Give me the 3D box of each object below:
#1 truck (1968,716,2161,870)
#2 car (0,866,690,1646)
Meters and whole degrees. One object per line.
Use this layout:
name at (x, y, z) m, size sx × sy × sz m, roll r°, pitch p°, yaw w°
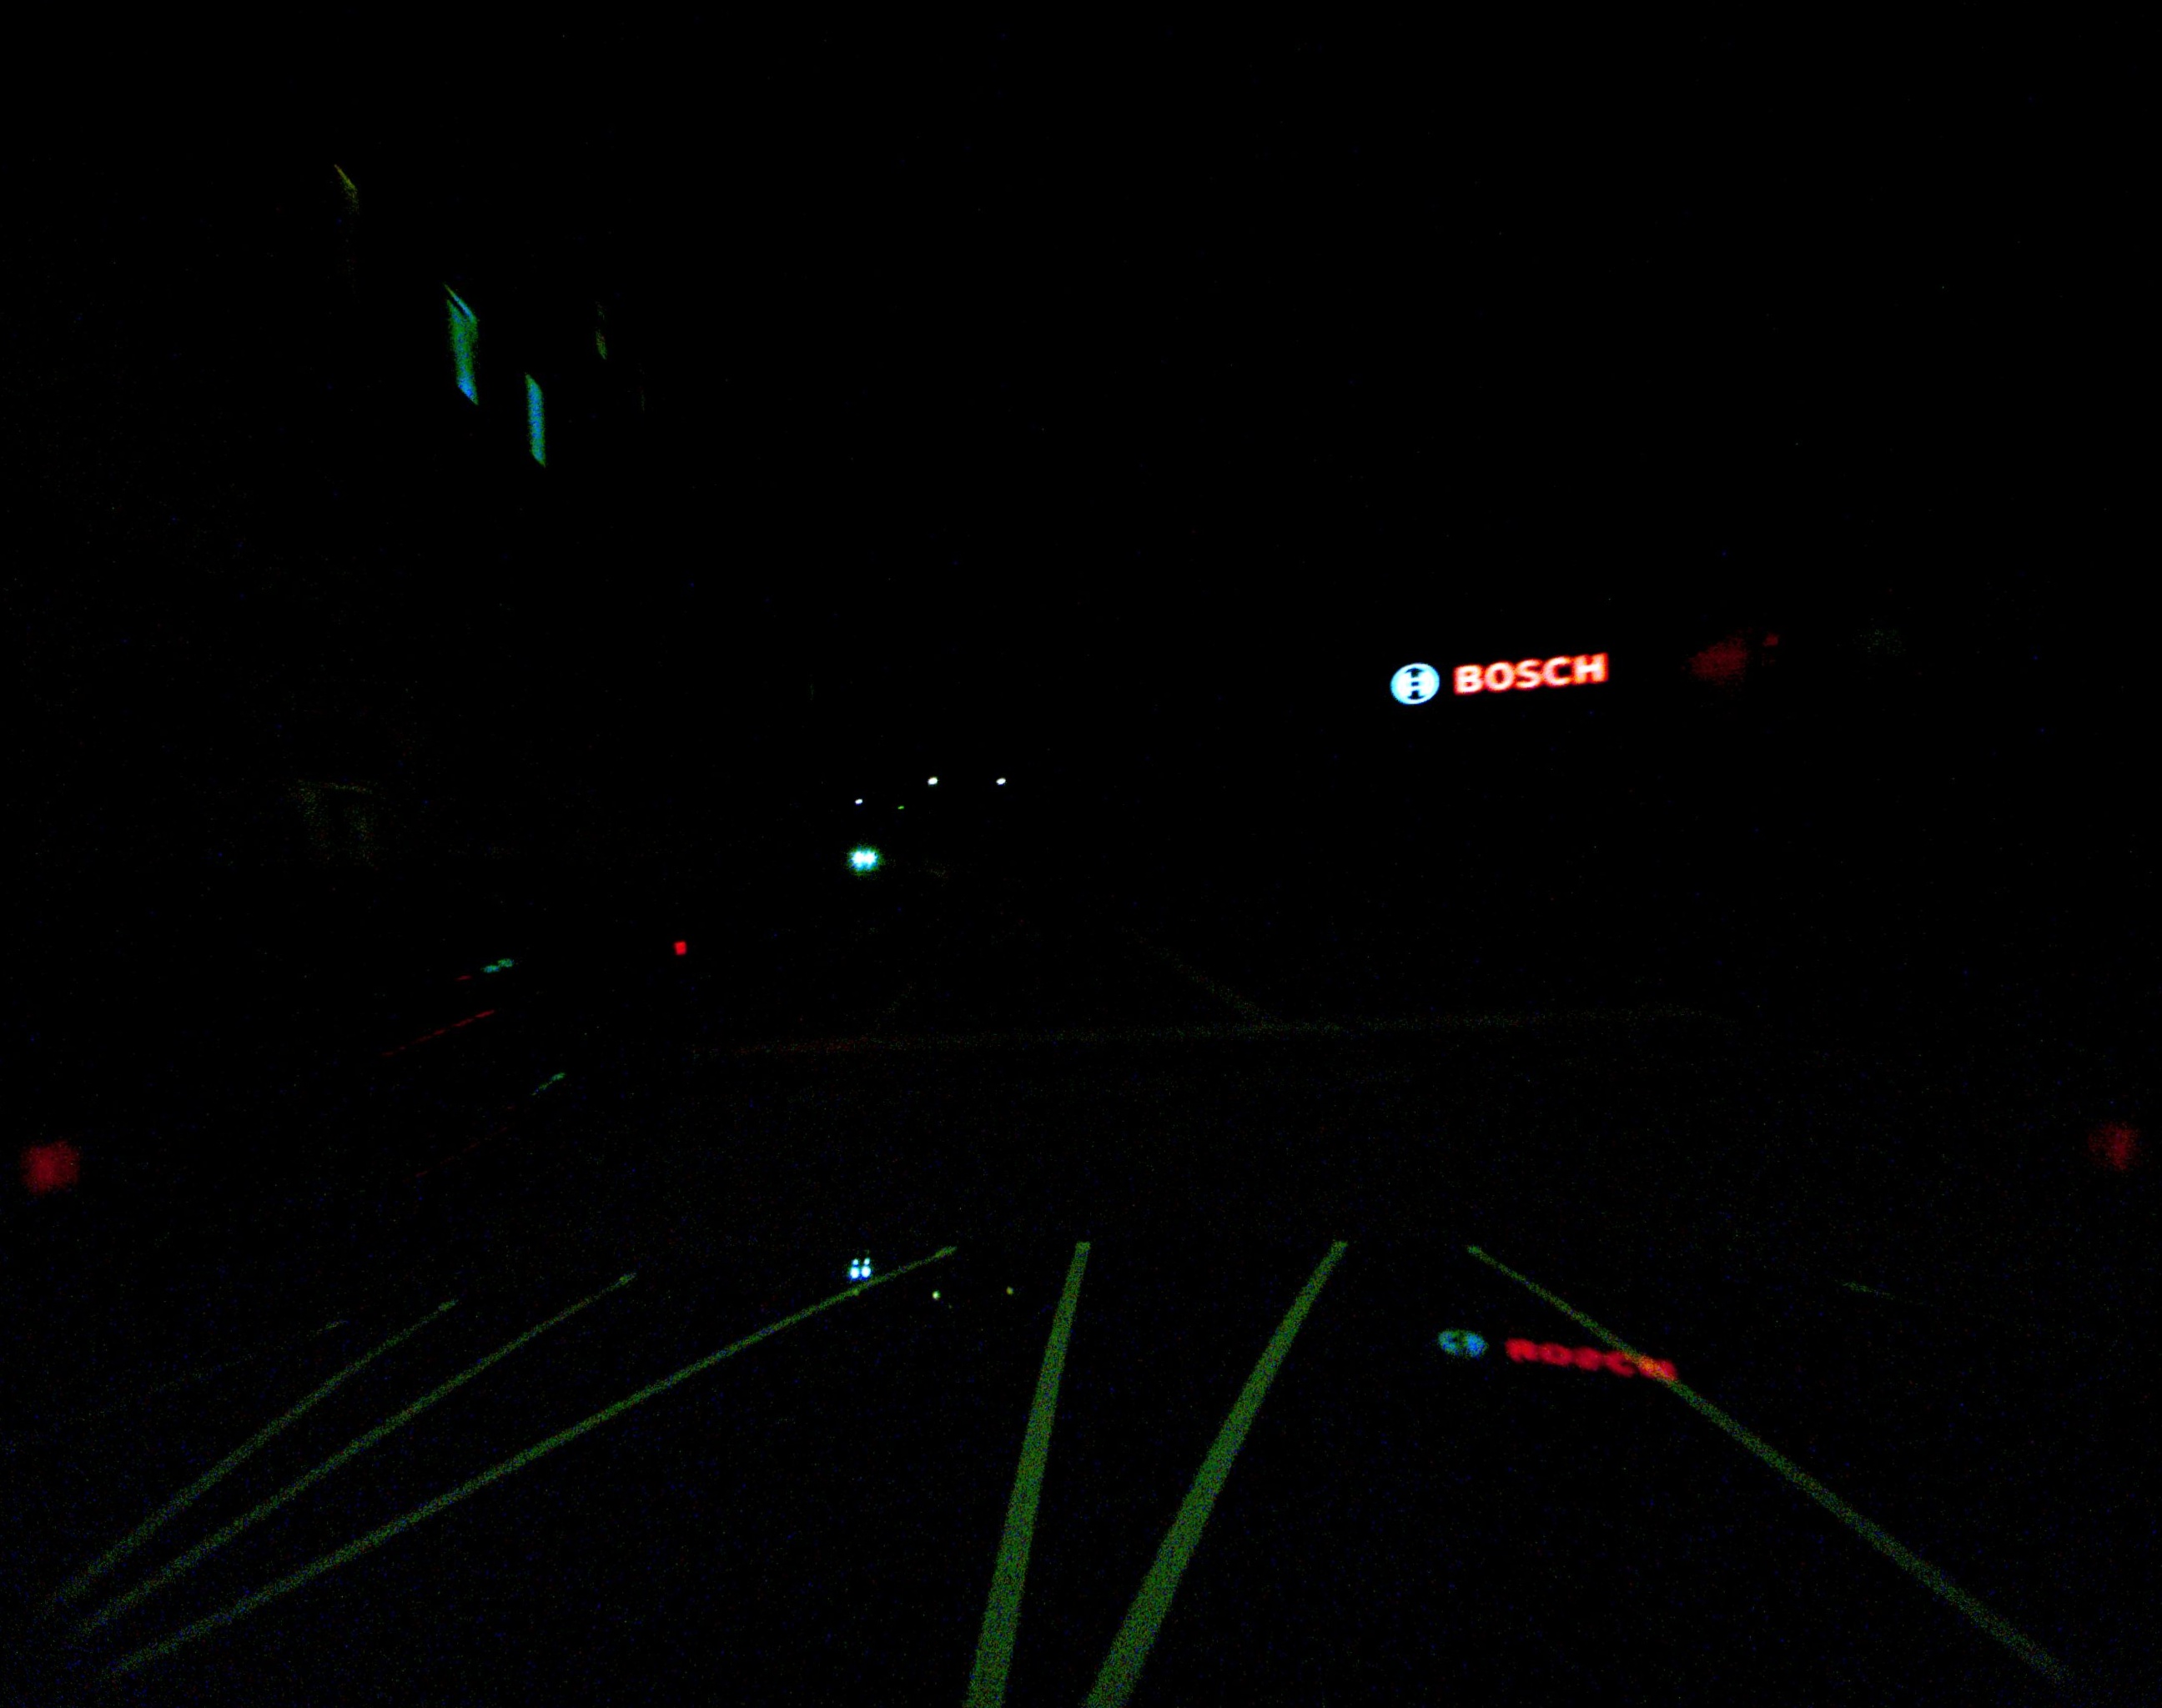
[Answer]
truck at (27.781, -1.519, 17.618) m, size 2.003 × 3.701 × 9.333 m, roll -3°, pitch 2°, yaw -38°
car at (-3.452, 0.936, 2.856) m, size 1.999 × 1.607 × 3.998 m, roll -1°, pitch 1°, yaw -3°
